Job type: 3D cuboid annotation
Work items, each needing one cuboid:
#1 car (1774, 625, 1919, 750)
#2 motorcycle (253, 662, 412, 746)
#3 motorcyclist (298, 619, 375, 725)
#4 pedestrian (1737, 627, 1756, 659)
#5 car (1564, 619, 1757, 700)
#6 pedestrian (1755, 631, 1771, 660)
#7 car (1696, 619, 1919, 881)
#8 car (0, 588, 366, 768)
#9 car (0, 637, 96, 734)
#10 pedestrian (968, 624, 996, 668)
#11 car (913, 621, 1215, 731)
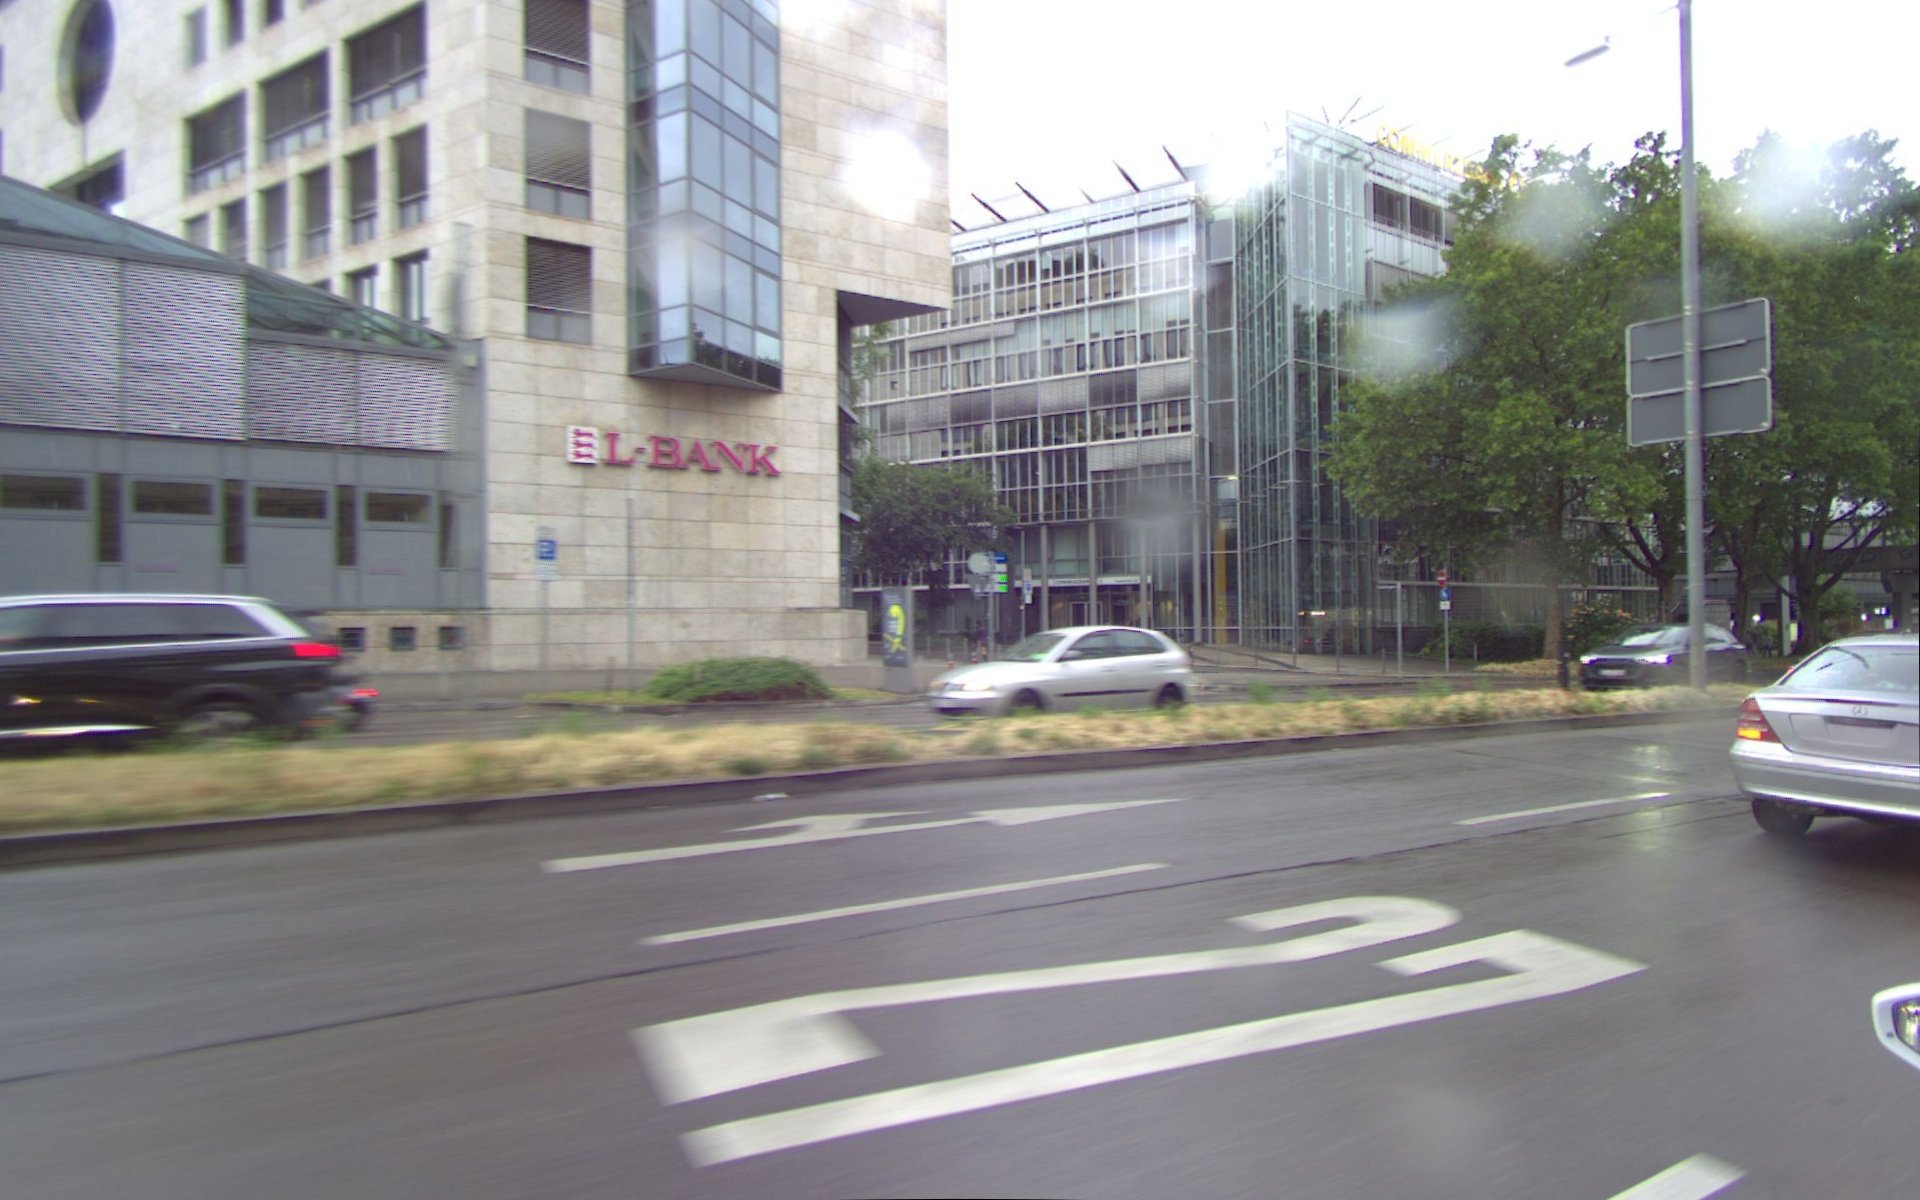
[{"bbox_3d":[13.294,1.105,13.609,4.819,1.498,1.864,1,-2,-29],"label":"car"},{"bbox_3d":[-9.472,1.543,15.253,2.008,1.145,0.546,0,-1,-29],"label":"motorcycle"},{"bbox_3d":[-9.452,1.067,15.260,0.961,1.550,0.518,0,-1,-29],"label":"motorcyclist"},{"bbox_3d":[46.918,2.558,59.901,0.610,1.832,0.719,1,-1,-30],"label":"pedestrian"},{"bbox_3d":[16.017,1.335,22.920,4.626,1.702,1.865,2,-2,-30],"label":"car"},{"bbox_3d":[47.315,2.682,59.182,0.505,1.708,0.557,1,-1,-30],"label":"pedestrian"},{"bbox_3d":[7.242,0.954,7.157,4.310,1.498,1.664,2,-1,-30],"label":"car"},{"bbox_3d":[-8.012,0.656,8.972,4.525,1.456,1.693,2,-2,-28],"label":"car"},{"bbox_3d":[-15.635,1.285,15.332,3.355,1.434,1.587,2,-2,-26],"label":"car"},{"bbox_3d":[0.815,1.678,37.030,0.658,1.591,0.818,-1,-1,38],"label":"pedestrian"},{"bbox_3d":[1.515,1.035,14.219,4.065,1.378,1.590,2,-2,-28],"label":"car"}]
